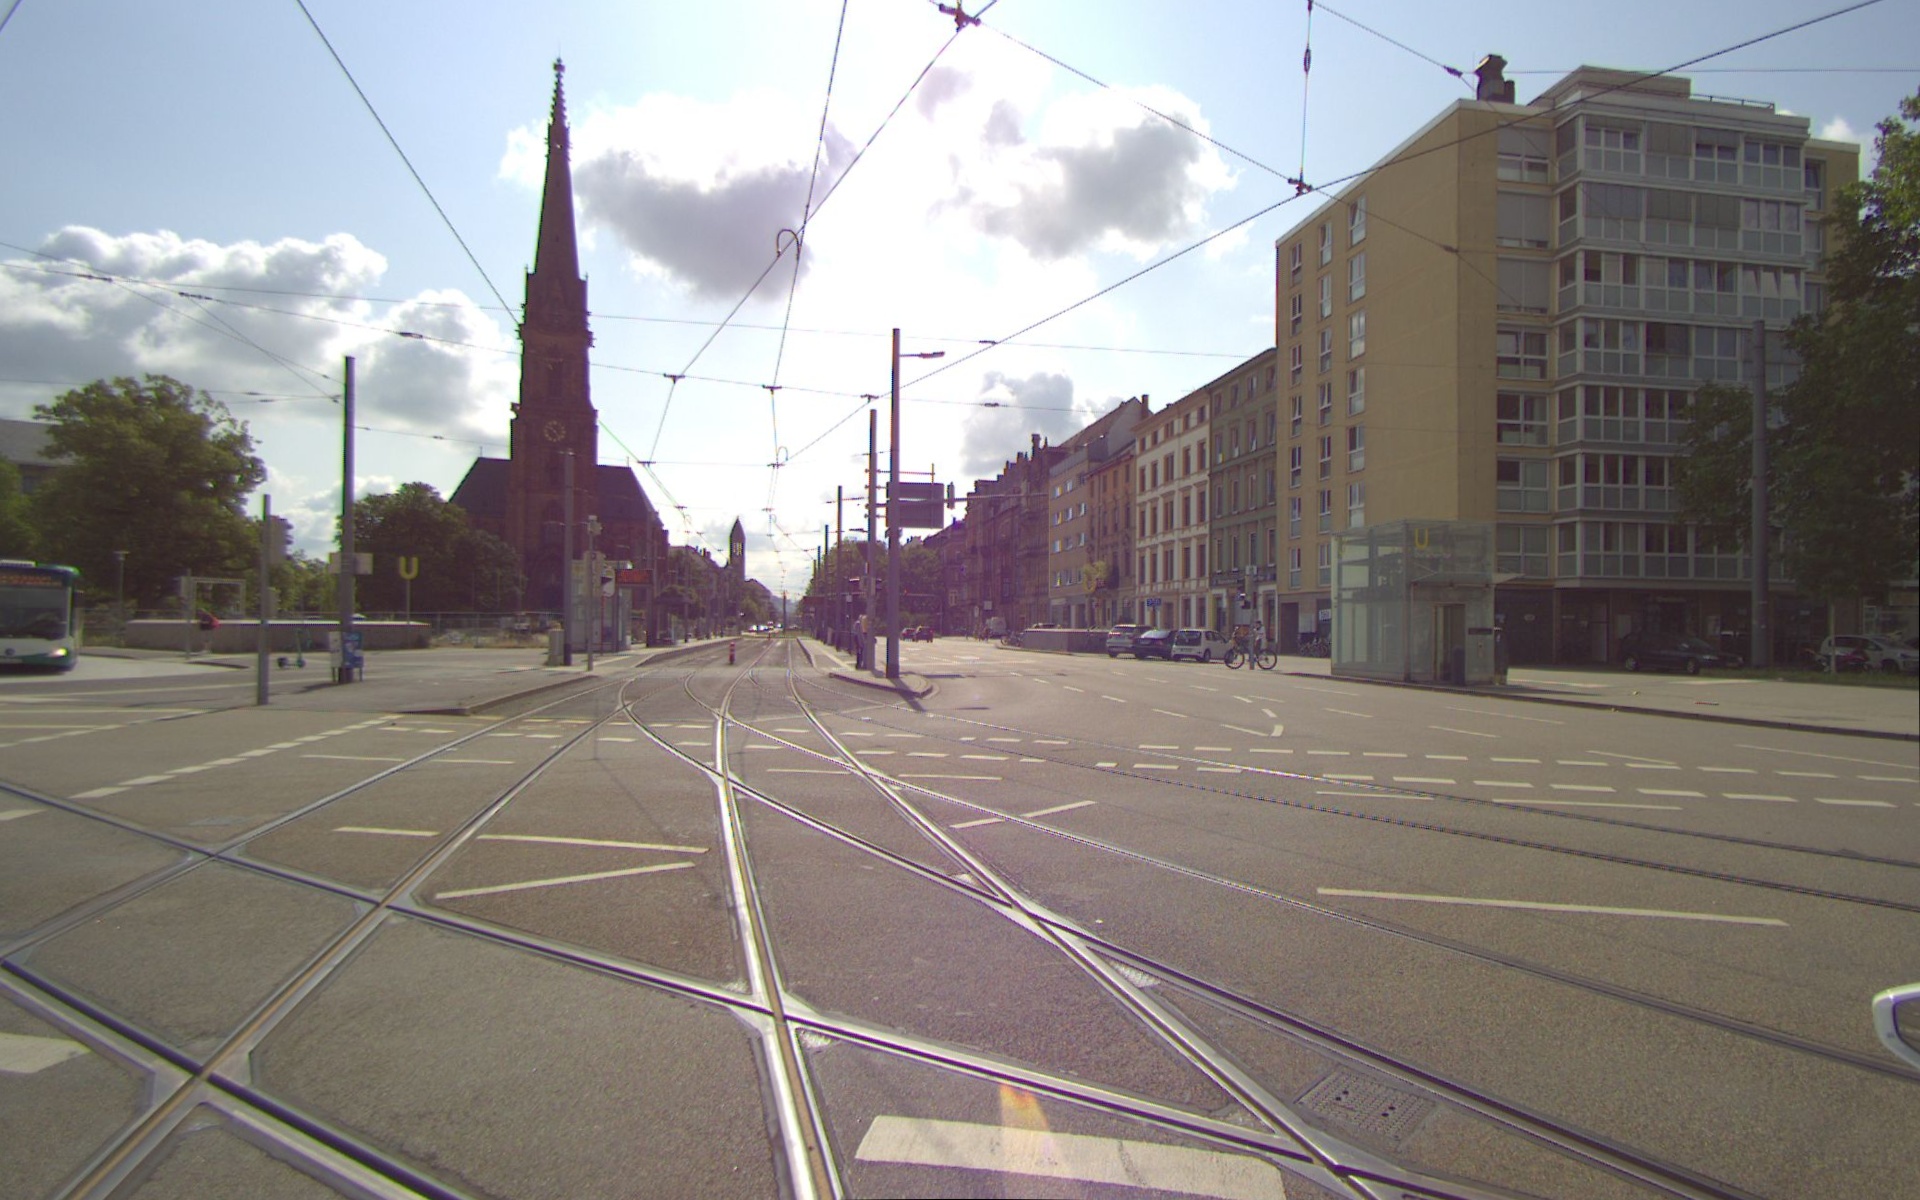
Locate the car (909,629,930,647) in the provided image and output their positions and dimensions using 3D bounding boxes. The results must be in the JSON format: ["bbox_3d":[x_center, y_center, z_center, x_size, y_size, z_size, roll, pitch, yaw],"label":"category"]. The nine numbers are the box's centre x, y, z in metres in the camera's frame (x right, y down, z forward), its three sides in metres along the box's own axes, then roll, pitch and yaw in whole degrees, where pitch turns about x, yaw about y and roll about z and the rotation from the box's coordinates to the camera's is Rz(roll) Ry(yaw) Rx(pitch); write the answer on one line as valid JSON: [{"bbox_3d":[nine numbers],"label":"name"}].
[{"bbox_3d":[-4.326,4.017,106.235,1.664,1.734,3.601,1,1,-11],"label":"car"}]

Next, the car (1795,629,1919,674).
[{"bbox_3d":[35.916,2.013,39.857,1.777,1.534,4.087,1,1,-11],"label":"car"}]

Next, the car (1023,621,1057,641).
[{"bbox_3d":[8.140,3.183,102.446,1.967,1.886,4.739,1,-2,-15],"label":"car"}]

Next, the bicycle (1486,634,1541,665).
[{"bbox_3d":[22.750,2.040,41.293,2.157,1.218,0.477,1,1,-11],"label":"bicycle"}]

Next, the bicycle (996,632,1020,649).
[{"bbox_3d":[3.751,3.172,78.391,1.903,1.254,0.439,1,1,-23],"label":"bicycle"}]

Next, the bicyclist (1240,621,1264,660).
[{"bbox_3d":[10.433,1.440,35.893,0.768,1.354,0.395,1,1,17],"label":"bicyclist"}]

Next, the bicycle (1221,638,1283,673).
[{"bbox_3d":[10.437,1.967,35.901,2.058,1.121,0.544,2,1,17],"label":"bicycle"}]

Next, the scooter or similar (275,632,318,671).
[{"bbox_3d":[-20.342,1.572,30.815,0.800,1.182,1.163,1,-1,-19],"label":"scooter or similar"}]

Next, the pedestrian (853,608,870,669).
[{"bbox_3d":[-3.311,1.284,33.864,0.420,2.040,0.575,1,-1,-21],"label":"pedestrian"}]

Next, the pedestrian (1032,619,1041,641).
[{"bbox_3d":[7.540,2.940,98.559,0.710,2.127,0.785,1,1,-9],"label":"pedestrian"}]

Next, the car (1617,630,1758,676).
[{"bbox_3d":[26.430,1.896,36.662,1.777,1.534,4.088,1,-1,-11],"label":"car"}]

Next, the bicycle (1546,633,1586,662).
[{"bbox_3d":[25.267,1.976,41.856,1.322,1.144,0.593,1,1,-7],"label":"bicycle"}]

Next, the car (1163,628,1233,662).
[{"bbox_3d":[10.729,2.028,45.165,1.752,1.472,3.481,-1,-3,39],"label":"car"}]

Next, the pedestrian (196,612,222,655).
[{"bbox_3d":[-31.884,1.407,42.650,0.553,1.818,0.718,0,-1,32],"label":"pedestrian"}]

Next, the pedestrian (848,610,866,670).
[{"bbox_3d":[-3.544,1.387,34.506,0.496,2.040,0.513,1,-1,-21],"label":"pedestrian"}]

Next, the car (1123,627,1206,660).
[{"bbox_3d":[9.805,2.071,47.837,1.910,1.479,4.578,0,-2,40],"label":"car"}]

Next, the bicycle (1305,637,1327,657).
[{"bbox_3d":[18.076,2.382,51.020,0.288,0.935,1.461,1,0,-12],"label":"bicycle"}]

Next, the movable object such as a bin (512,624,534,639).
[{"bbox_3d":[-45.887,3.345,105.506,1.971,1.522,5.128,1,-2,-22],"label":"movable object such as a bin"}]

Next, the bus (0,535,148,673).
[{"bbox_3d":[-28.617,0.229,31.772,2.883,3.668,12.273,1,-2,-31],"label":"bus"}]

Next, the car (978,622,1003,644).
[{"bbox_3d":[3.715,4.052,123.863,1.964,2.559,5.879,1,-2,-10],"label":"car"}]

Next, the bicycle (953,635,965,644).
[{"bbox_3d":[-0.223,5.866,150.380,1.742,1.285,0.466,1,1,-7],"label":"bicycle"}]

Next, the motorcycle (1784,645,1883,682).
[{"bbox_3d":[26.932,1.940,31.025,2.259,1.043,0.971,0,-3,39],"label":"motorcycle"}]

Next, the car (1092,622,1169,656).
[{"bbox_3d":[8.796,1.960,51.535,2.029,1.669,4.578,-1,-2,37],"label":"car"}]

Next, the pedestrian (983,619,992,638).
[{"bbox_3d":[2.927,3.043,106.937,0.657,1.928,0.689,1,-2,-28],"label":"pedestrian"}]

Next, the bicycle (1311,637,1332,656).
[{"bbox_3d":[18.383,2.373,51.084,0.288,0.935,1.461,1,-1,-12],"label":"bicycle"}]

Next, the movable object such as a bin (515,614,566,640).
[{"bbox_3d":[-47.458,3.077,113.794,5.071,2.950,1.993,1,-2,-17],"label":"movable object such as a bin"}]

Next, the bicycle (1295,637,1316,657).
[{"bbox_3d":[17.600,2.396,51.137,0.288,0.935,1.461,1,-1,-12],"label":"bicycle"}]

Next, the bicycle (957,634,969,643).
[{"bbox_3d":[0.417,5.673,147.860,1.718,1.285,0.466,1,1,-7],"label":"bicycle"}]

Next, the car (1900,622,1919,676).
[{"bbox_3d":[32.834,1.571,32.430,3.937,1.728,1.992,1,-1,-18],"label":"car"}]
